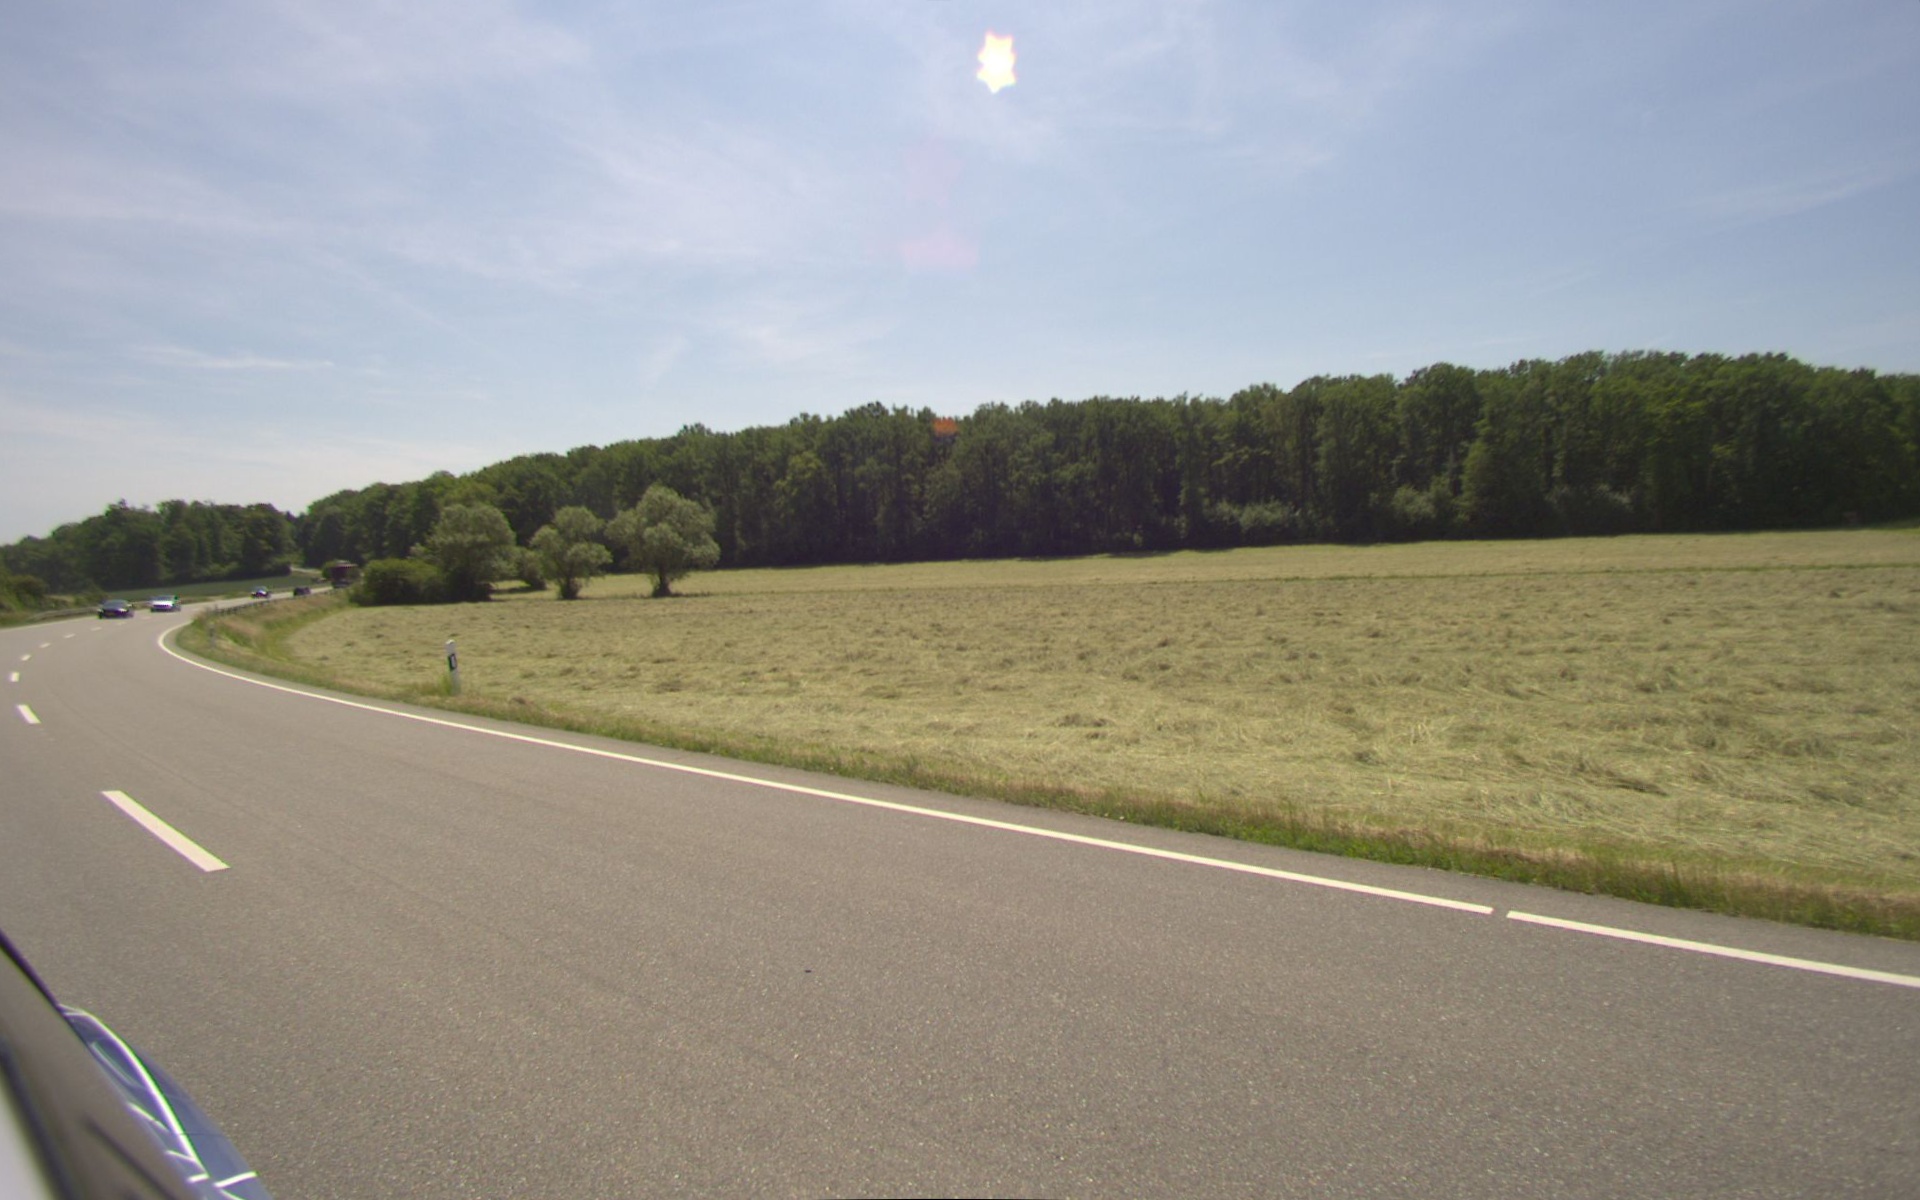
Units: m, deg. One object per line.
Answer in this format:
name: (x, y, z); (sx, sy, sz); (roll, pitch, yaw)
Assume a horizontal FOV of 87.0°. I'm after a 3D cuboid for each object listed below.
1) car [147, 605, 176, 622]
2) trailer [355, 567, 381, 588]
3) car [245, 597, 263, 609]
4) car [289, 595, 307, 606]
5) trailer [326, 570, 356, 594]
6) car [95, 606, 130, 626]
car: (-75.630, 1.248, 95.865); (1.595, 1.447, 3.454); (-2, 2, -29)
trailer: (-133.349, -5.065, 228.197); (3.326, 4.433, 13.793); (0, 1, -24)
car: (-98.062, 0.434, 140.618); (1.595, 1.447, 3.454); (-2, 2, -28)
car: (-96.463, 0.075, 147.482); (1.676, 1.480, 4.214); (0, 0, -27)
trailer: (-113.426, -3.250, 185.621); (3.195, 4.181, 14.492); (0, 1, -26)
car: (-67.331, 1.235, 80.443); (1.595, 1.447, 3.453); (-2, 2, -32)
